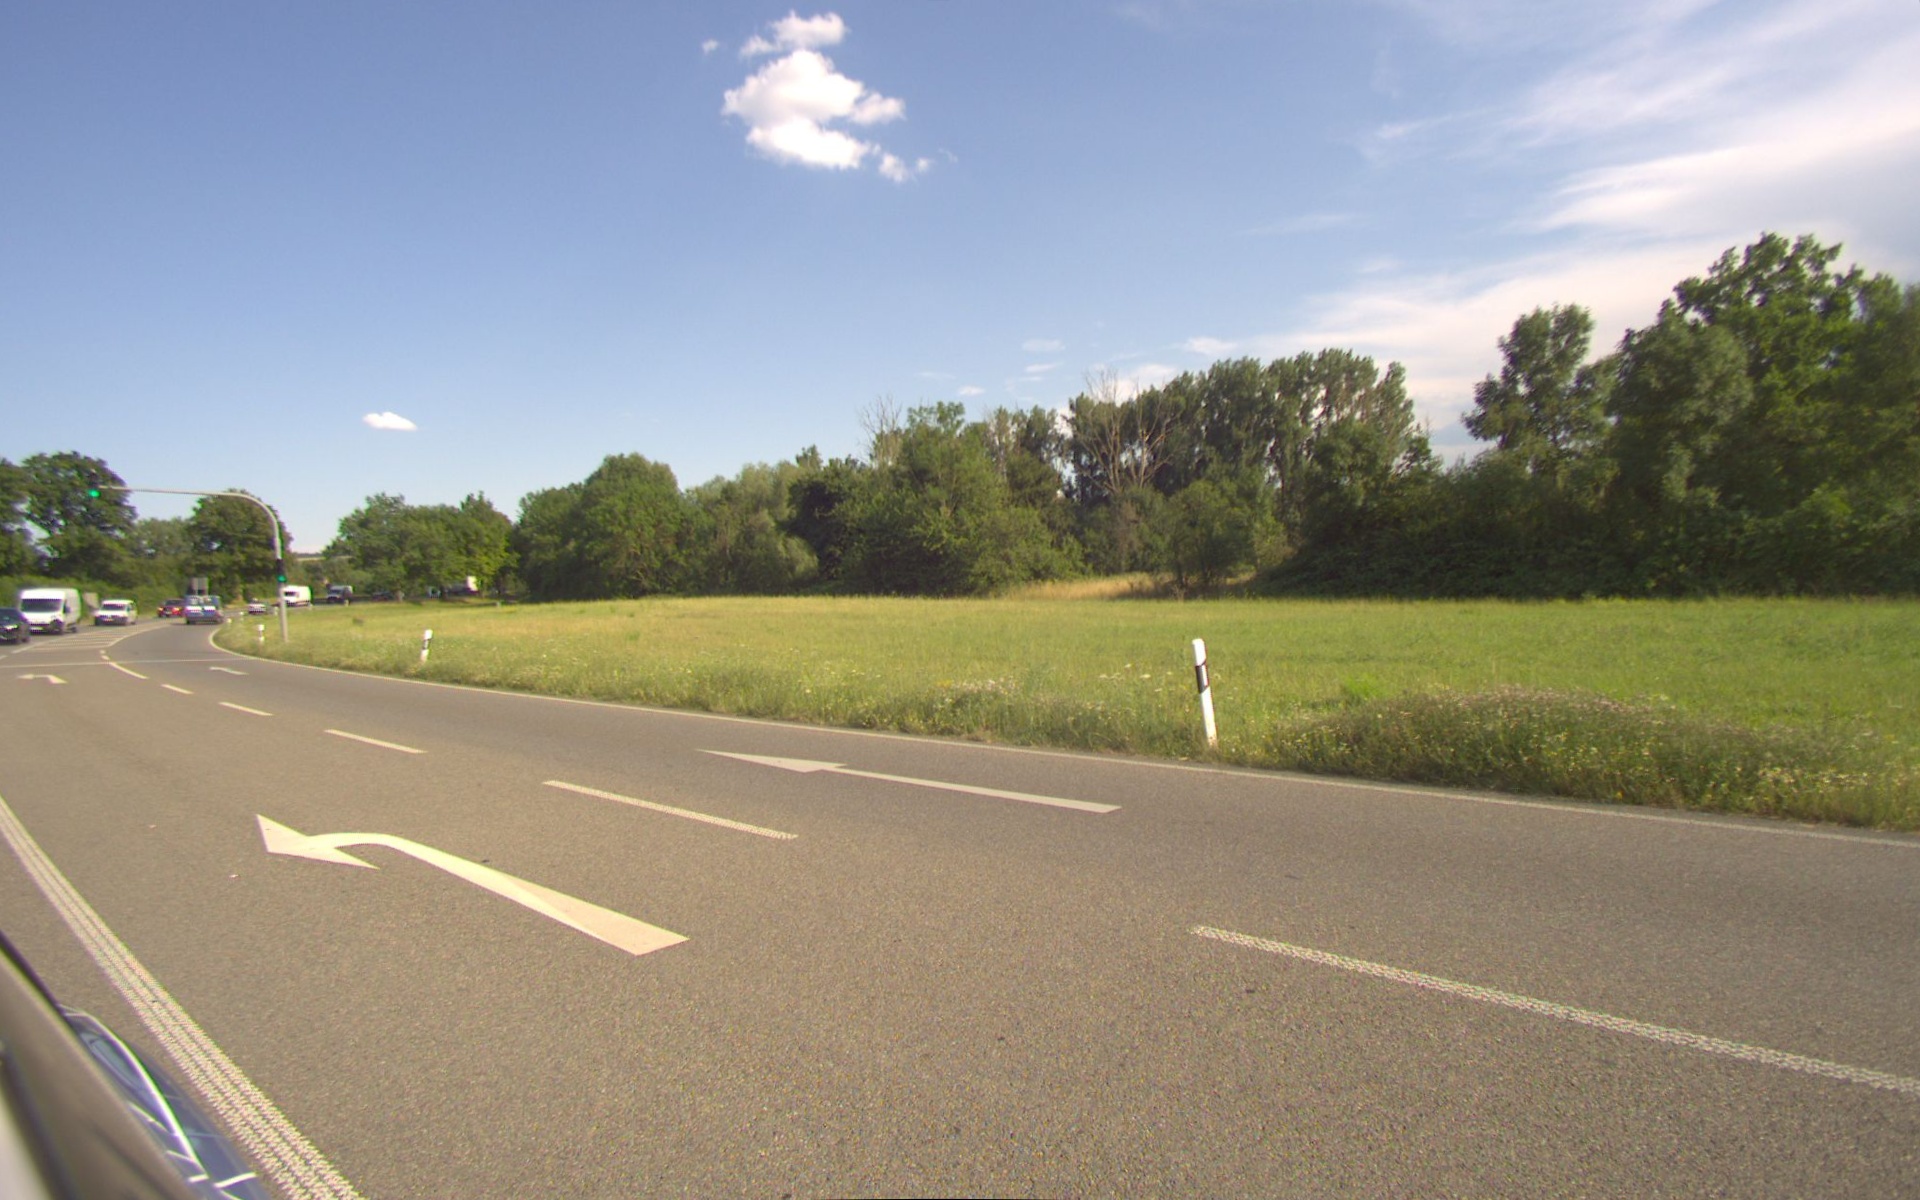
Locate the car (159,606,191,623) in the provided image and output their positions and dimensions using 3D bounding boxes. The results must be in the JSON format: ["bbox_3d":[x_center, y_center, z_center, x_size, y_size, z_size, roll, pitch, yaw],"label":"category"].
[{"bbox_3d":[-72.369,1.320,93.296,1.646,1.490,3.505,-3,1,-27],"label":"car"}]

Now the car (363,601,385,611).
[{"bbox_3d":[-90.453,0.930,156.231,1.566,1.478,3.611,0,-1,-5],"label":"car"}]

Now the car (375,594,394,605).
[{"bbox_3d":[-97.130,-0.090,170.823,1.631,1.616,3.879,-3,1,-12],"label":"car"}]

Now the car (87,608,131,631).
[{"bbox_3d":[-59.839,1.336,71.213,1.646,1.490,3.505,-3,1,-29],"label":"car"}]

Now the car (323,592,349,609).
[{"bbox_3d":[-93.396,-0.012,151.509,1.966,2.405,4.951,-3,1,-18],"label":"car"}]

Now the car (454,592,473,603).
[{"bbox_3d":[-94.420,-0.456,192.403,1.704,1.897,4.340,0,-1,-5],"label":"car"}]

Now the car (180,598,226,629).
[{"bbox_3d":[-55.965,0.974,74.855,1.970,2.153,4.794,-1,0,-28],"label":"car"}]

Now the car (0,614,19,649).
[{"bbox_3d":[-42.341,1.344,44.093,1.582,1.490,3.624,2,-2,-37],"label":"car"}]

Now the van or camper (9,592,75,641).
[{"bbox_3d":[-50.741,0.888,56.030,2.002,2.494,5.090,-3,1,-35],"label":"van or camper"}]

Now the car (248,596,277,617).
[{"bbox_3d":[-69.972,0.644,101.570,1.756,2.028,3.858,-3,1,-25],"label":"car"}]
